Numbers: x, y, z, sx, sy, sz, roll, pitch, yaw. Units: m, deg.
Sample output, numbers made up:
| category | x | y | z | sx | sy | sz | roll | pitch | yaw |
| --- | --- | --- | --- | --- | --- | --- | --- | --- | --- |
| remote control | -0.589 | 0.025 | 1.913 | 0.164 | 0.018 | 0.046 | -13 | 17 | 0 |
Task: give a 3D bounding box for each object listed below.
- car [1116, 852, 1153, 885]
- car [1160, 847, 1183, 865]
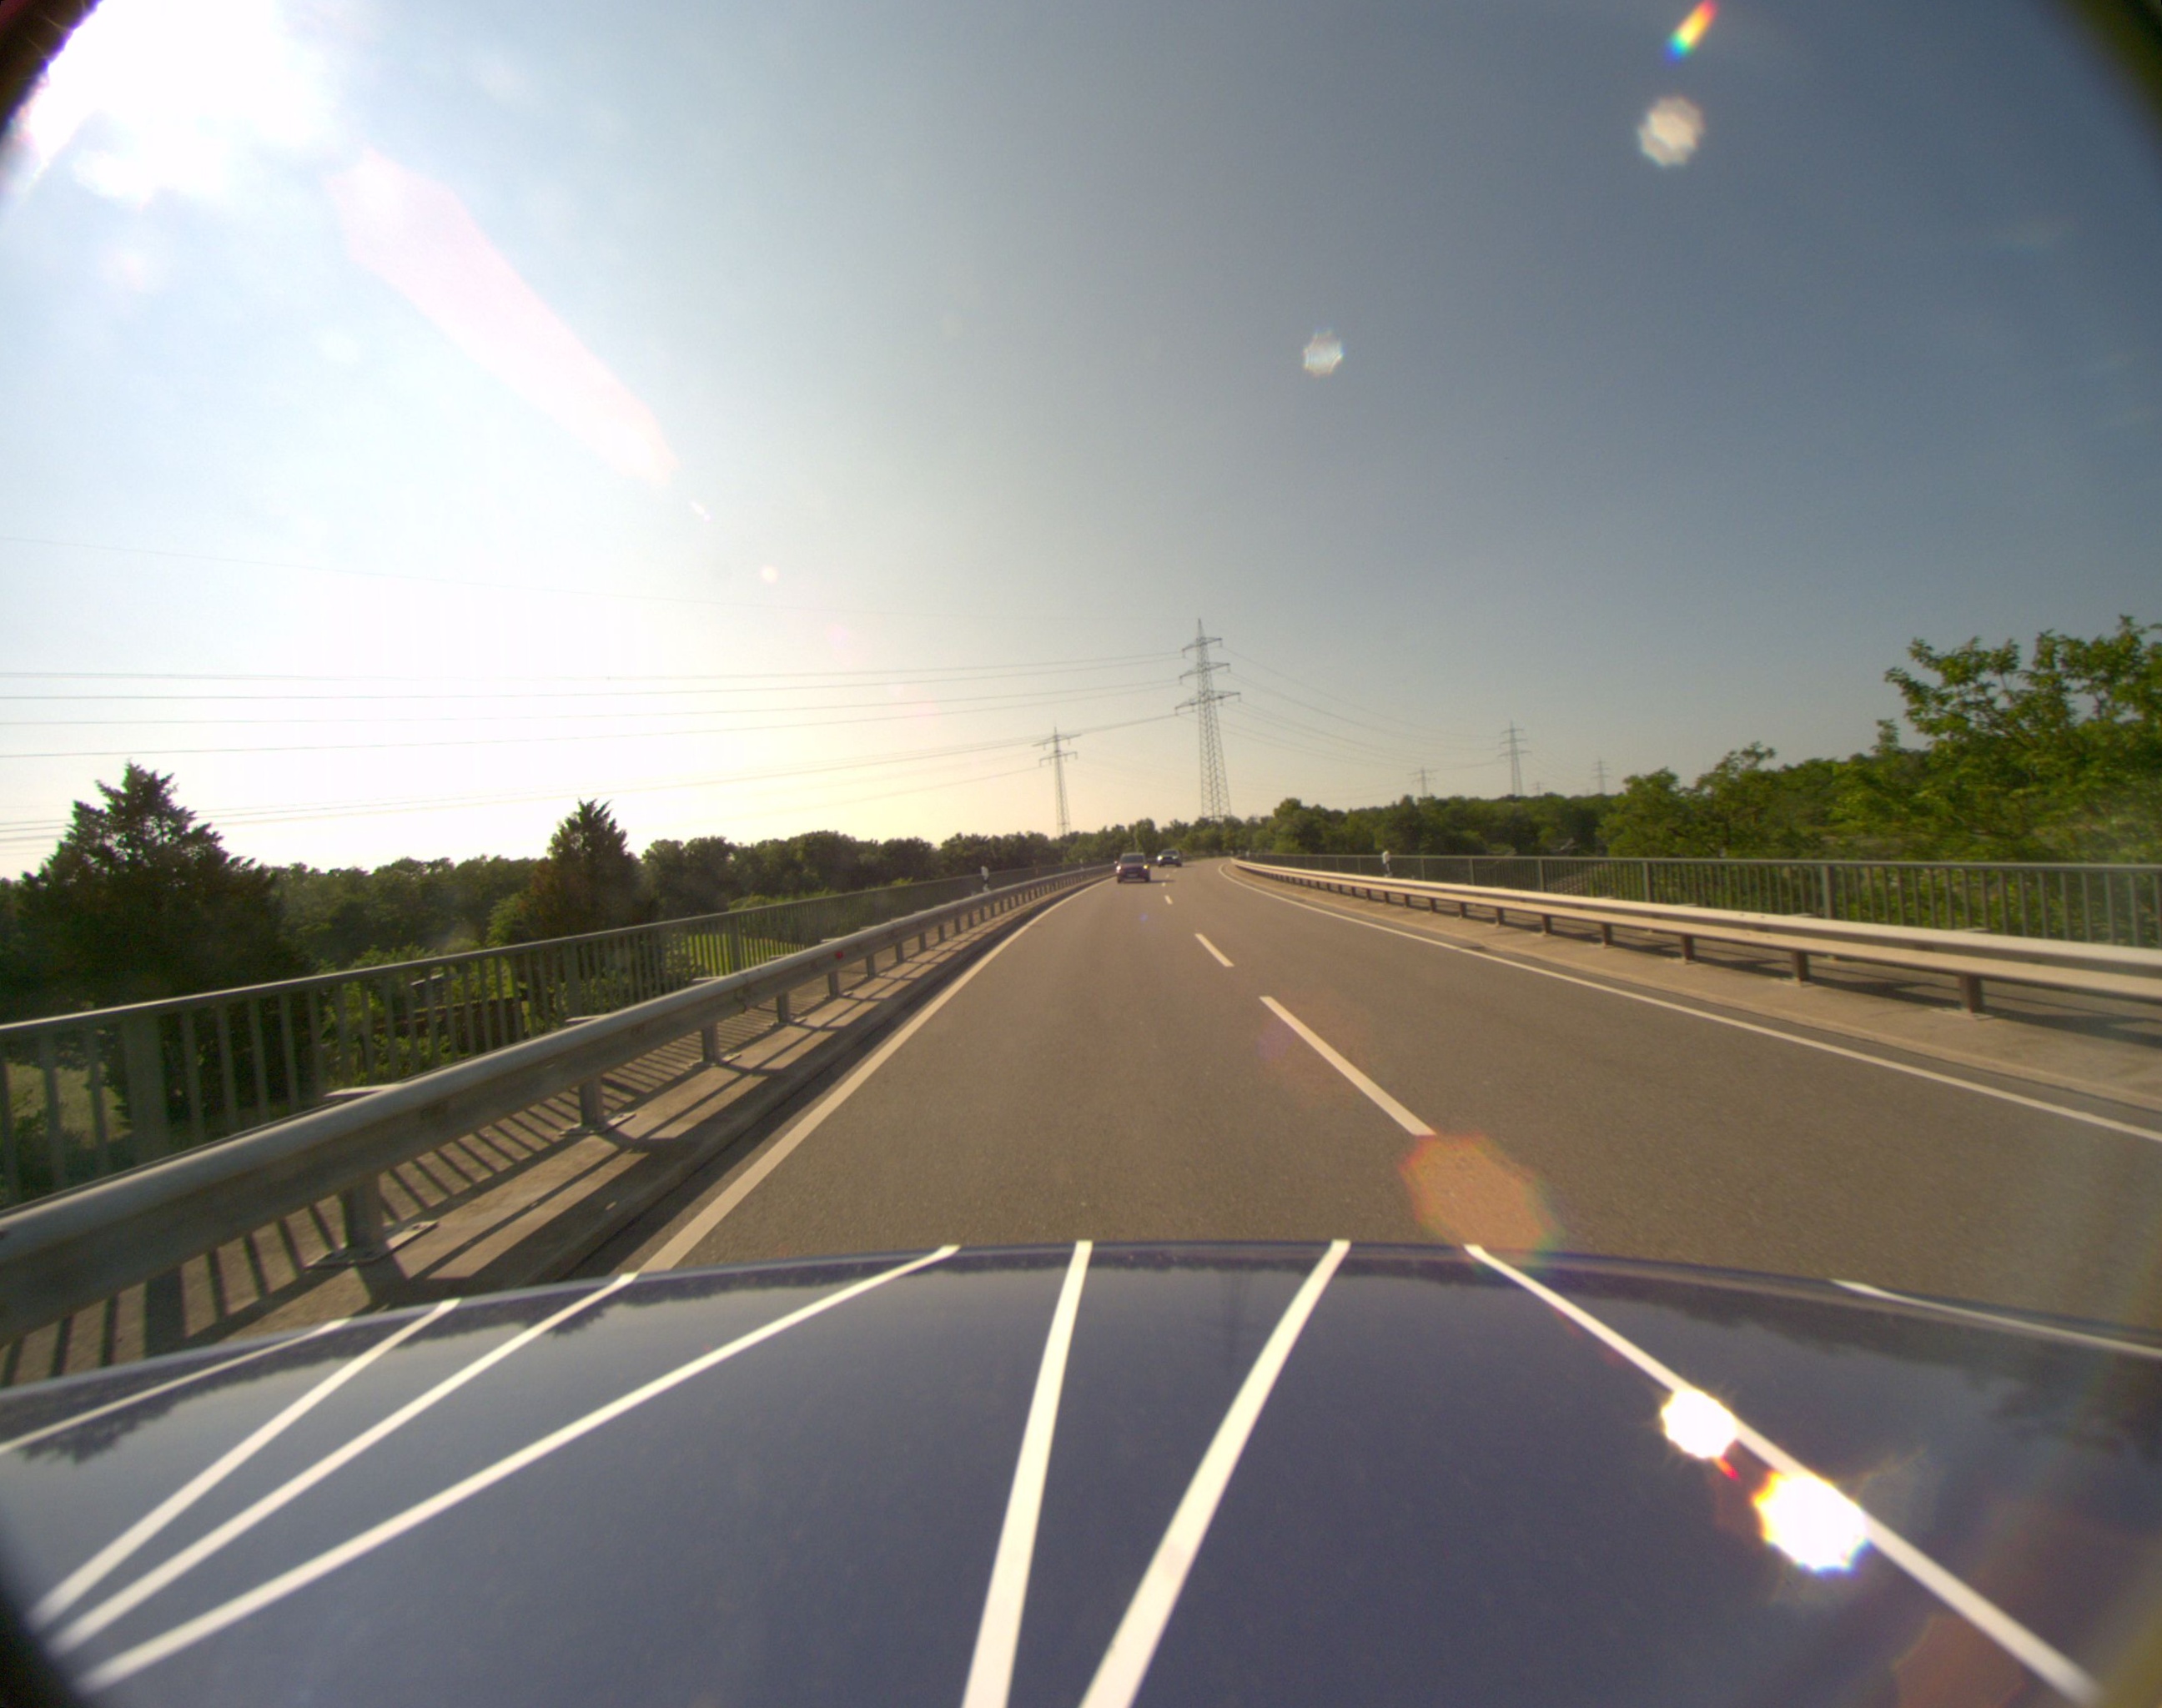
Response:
| category | x | y | z | sx | sy | sz | roll | pitch | yaw |
| --- | --- | --- | --- | --- | --- | --- | --- | --- | --- |
| car | 2.876 | 0.734 | 39.932 | 1.606 | 1.486 | 4.001 | -3 | 1 | 8 |
| car | 8.556 | 0.195 | 71.540 | 1.605 | 1.486 | 4.003 | -3 | 1 | 13 |
